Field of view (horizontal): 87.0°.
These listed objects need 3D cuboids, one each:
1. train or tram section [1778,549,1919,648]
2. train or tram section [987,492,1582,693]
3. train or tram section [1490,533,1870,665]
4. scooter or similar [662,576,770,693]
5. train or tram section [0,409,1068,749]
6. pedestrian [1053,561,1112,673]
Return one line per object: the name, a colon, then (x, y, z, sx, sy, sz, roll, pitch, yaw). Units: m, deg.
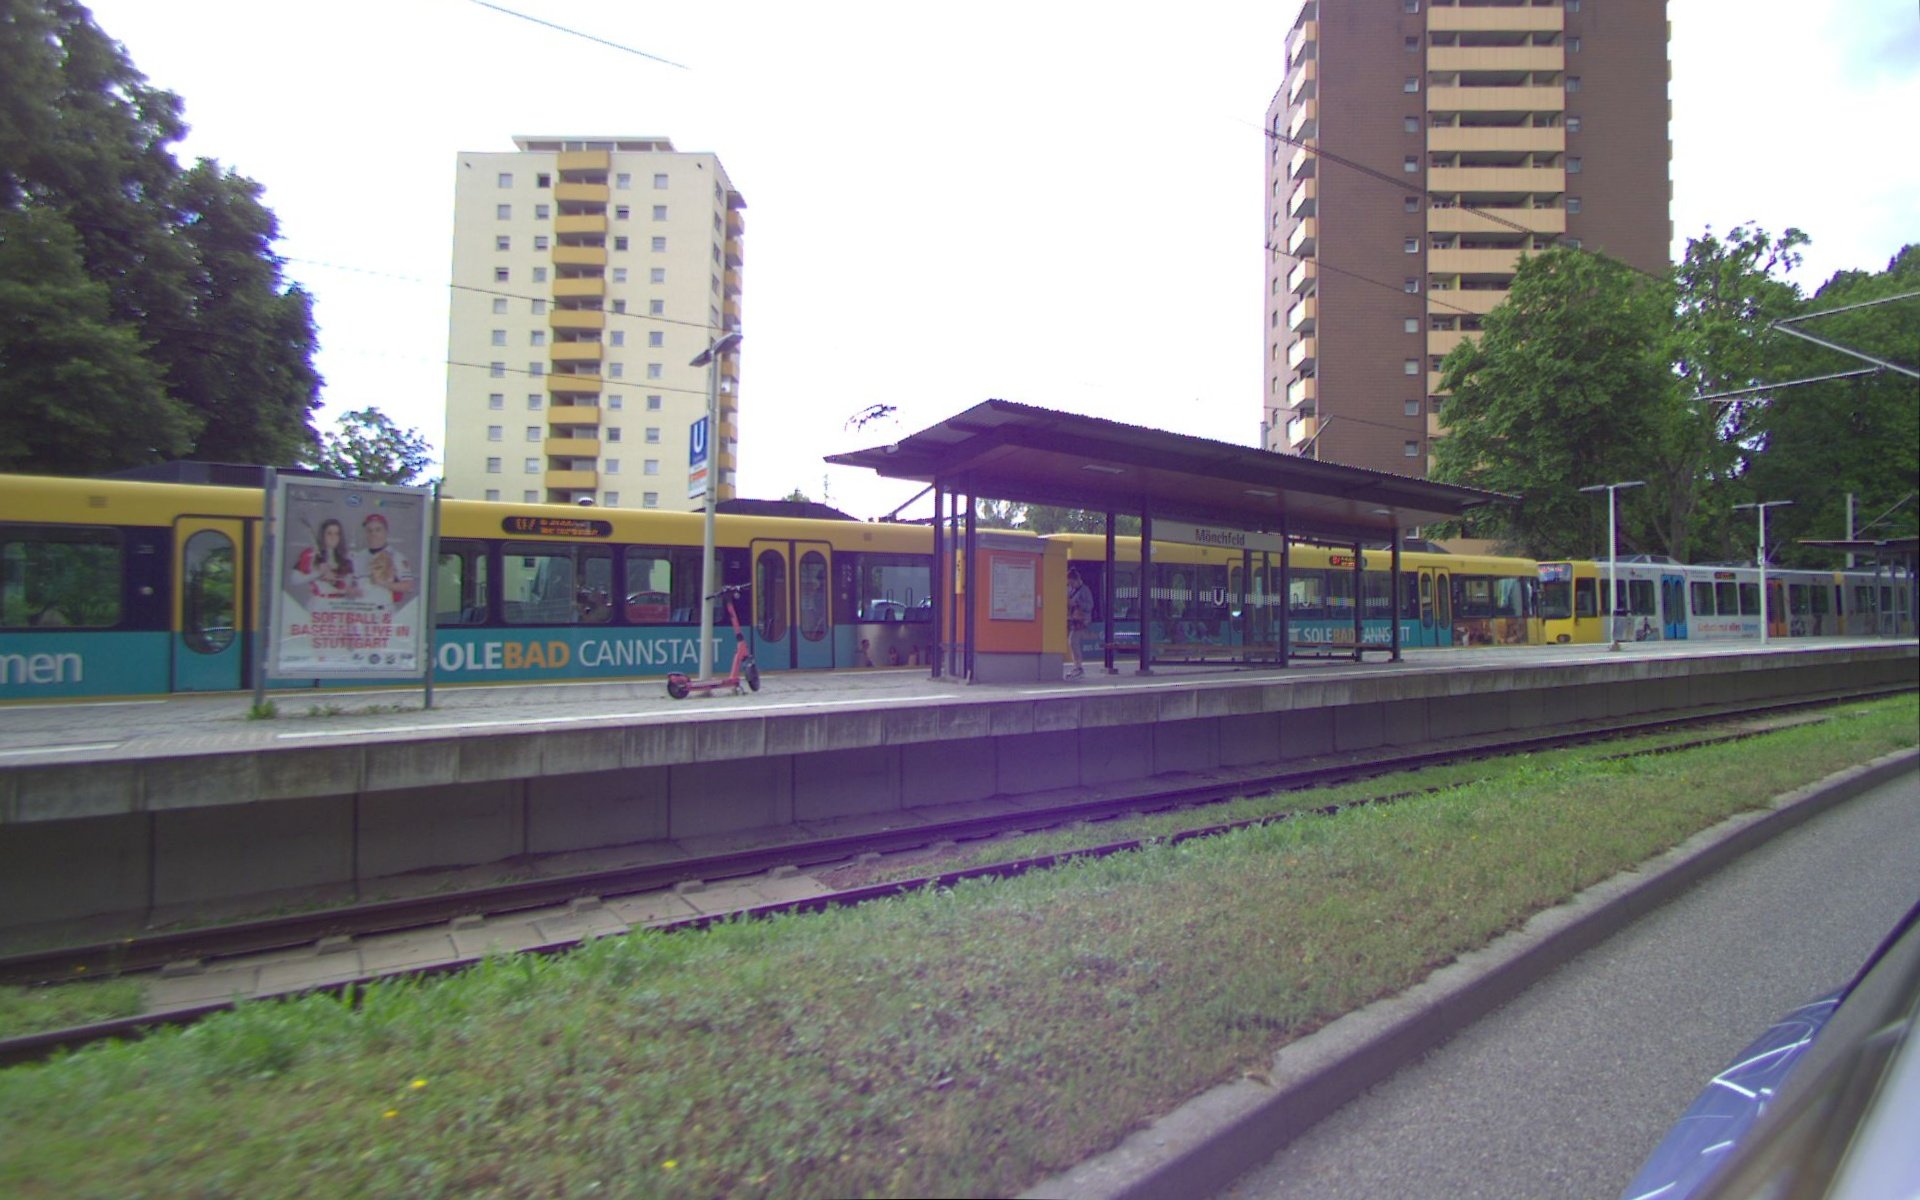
train or tram section: (42.086, 0.012, 43.767, 18.149, 3.786, 2.826, 0, -3, -26)
train or tram section: (9.357, -0.036, 25.536, 19.133, 3.786, 2.822, 0, -3, -33)
train or tram section: (25.633, 0.047, 35.207, 18.549, 3.848, 2.825, 0, -3, -29)
scooter or similar: (-2.746, 0.377, 11.424, 1.124, 1.258, 0.369, 1, -2, -34)
train or tram section: (-6.679, -0.140, 14.946, 19.137, 3.636, 2.822, 0, -3, -34)
pedestrian: (1.793, 0.244, 14.859, 0.651, 1.593, 0.626, 0, -1, -16)
